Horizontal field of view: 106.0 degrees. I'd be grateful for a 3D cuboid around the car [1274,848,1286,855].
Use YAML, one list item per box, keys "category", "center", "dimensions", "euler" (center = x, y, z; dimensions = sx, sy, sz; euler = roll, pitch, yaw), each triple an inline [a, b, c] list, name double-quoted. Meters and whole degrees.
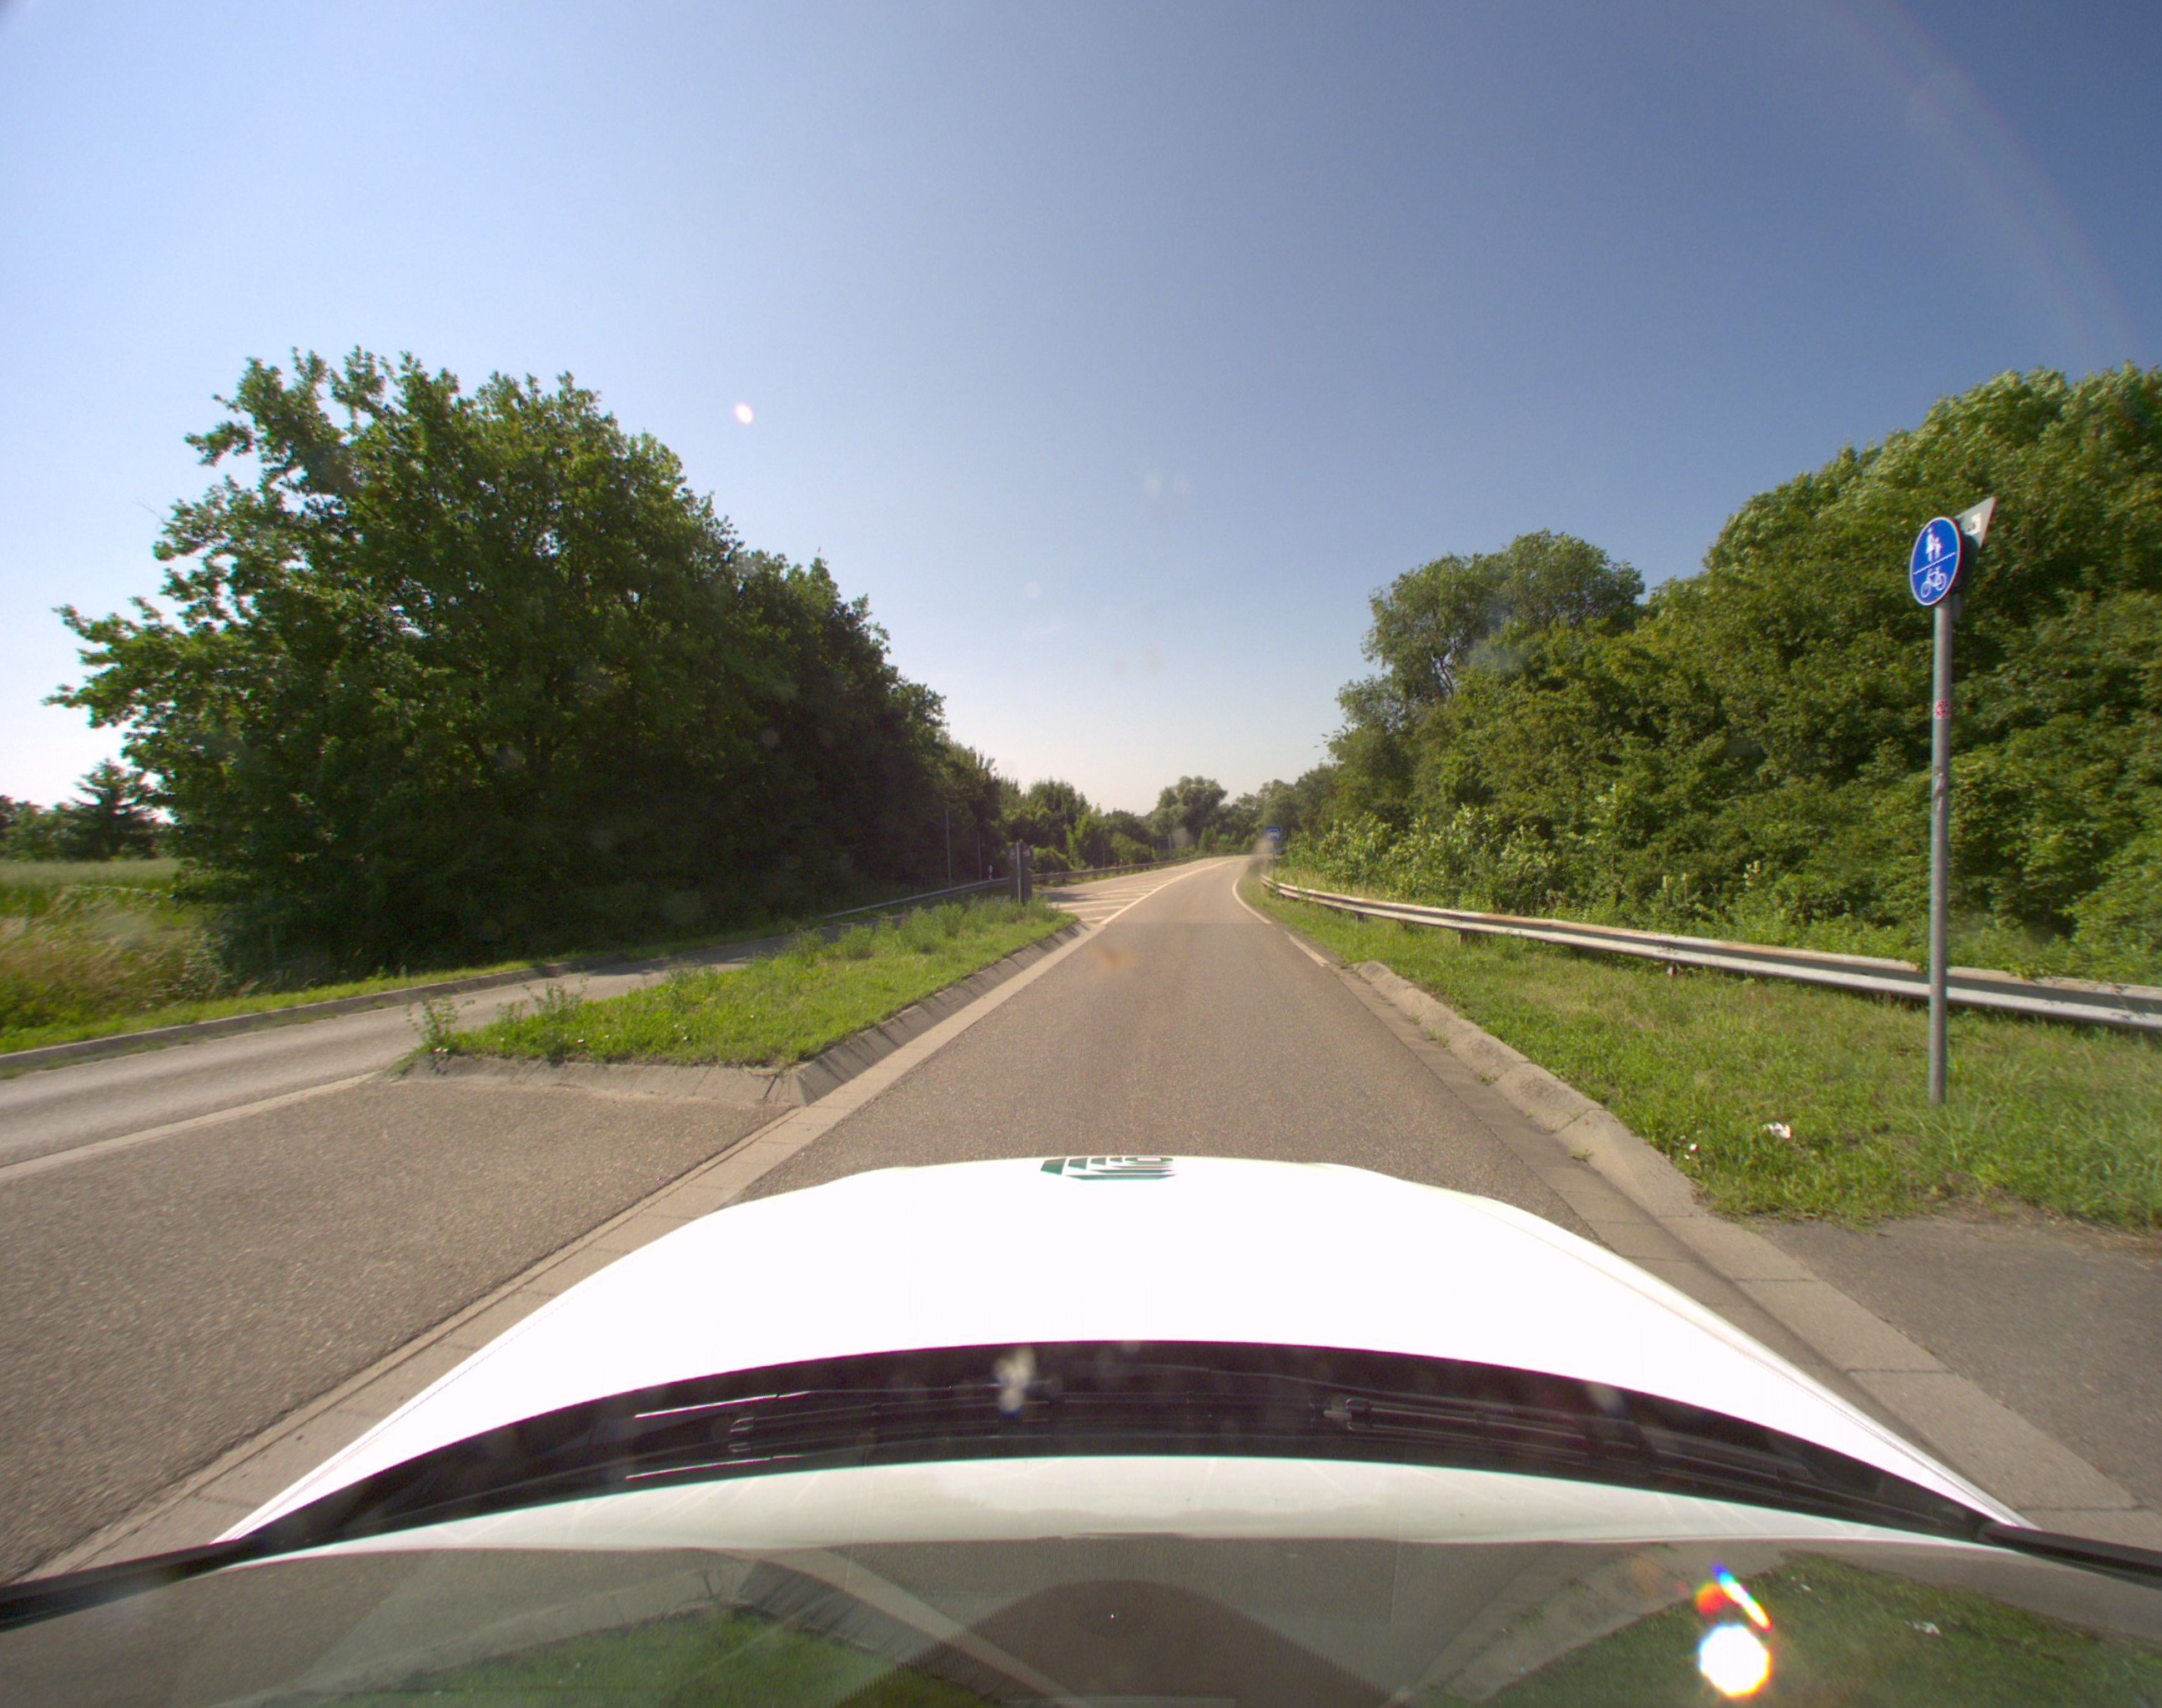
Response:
- category: "car"
  center: [39.152, -0.467, 159.952]
  dimensions: [1.593, 1.473, 4.242]
  euler: [-1, 0, 22]
